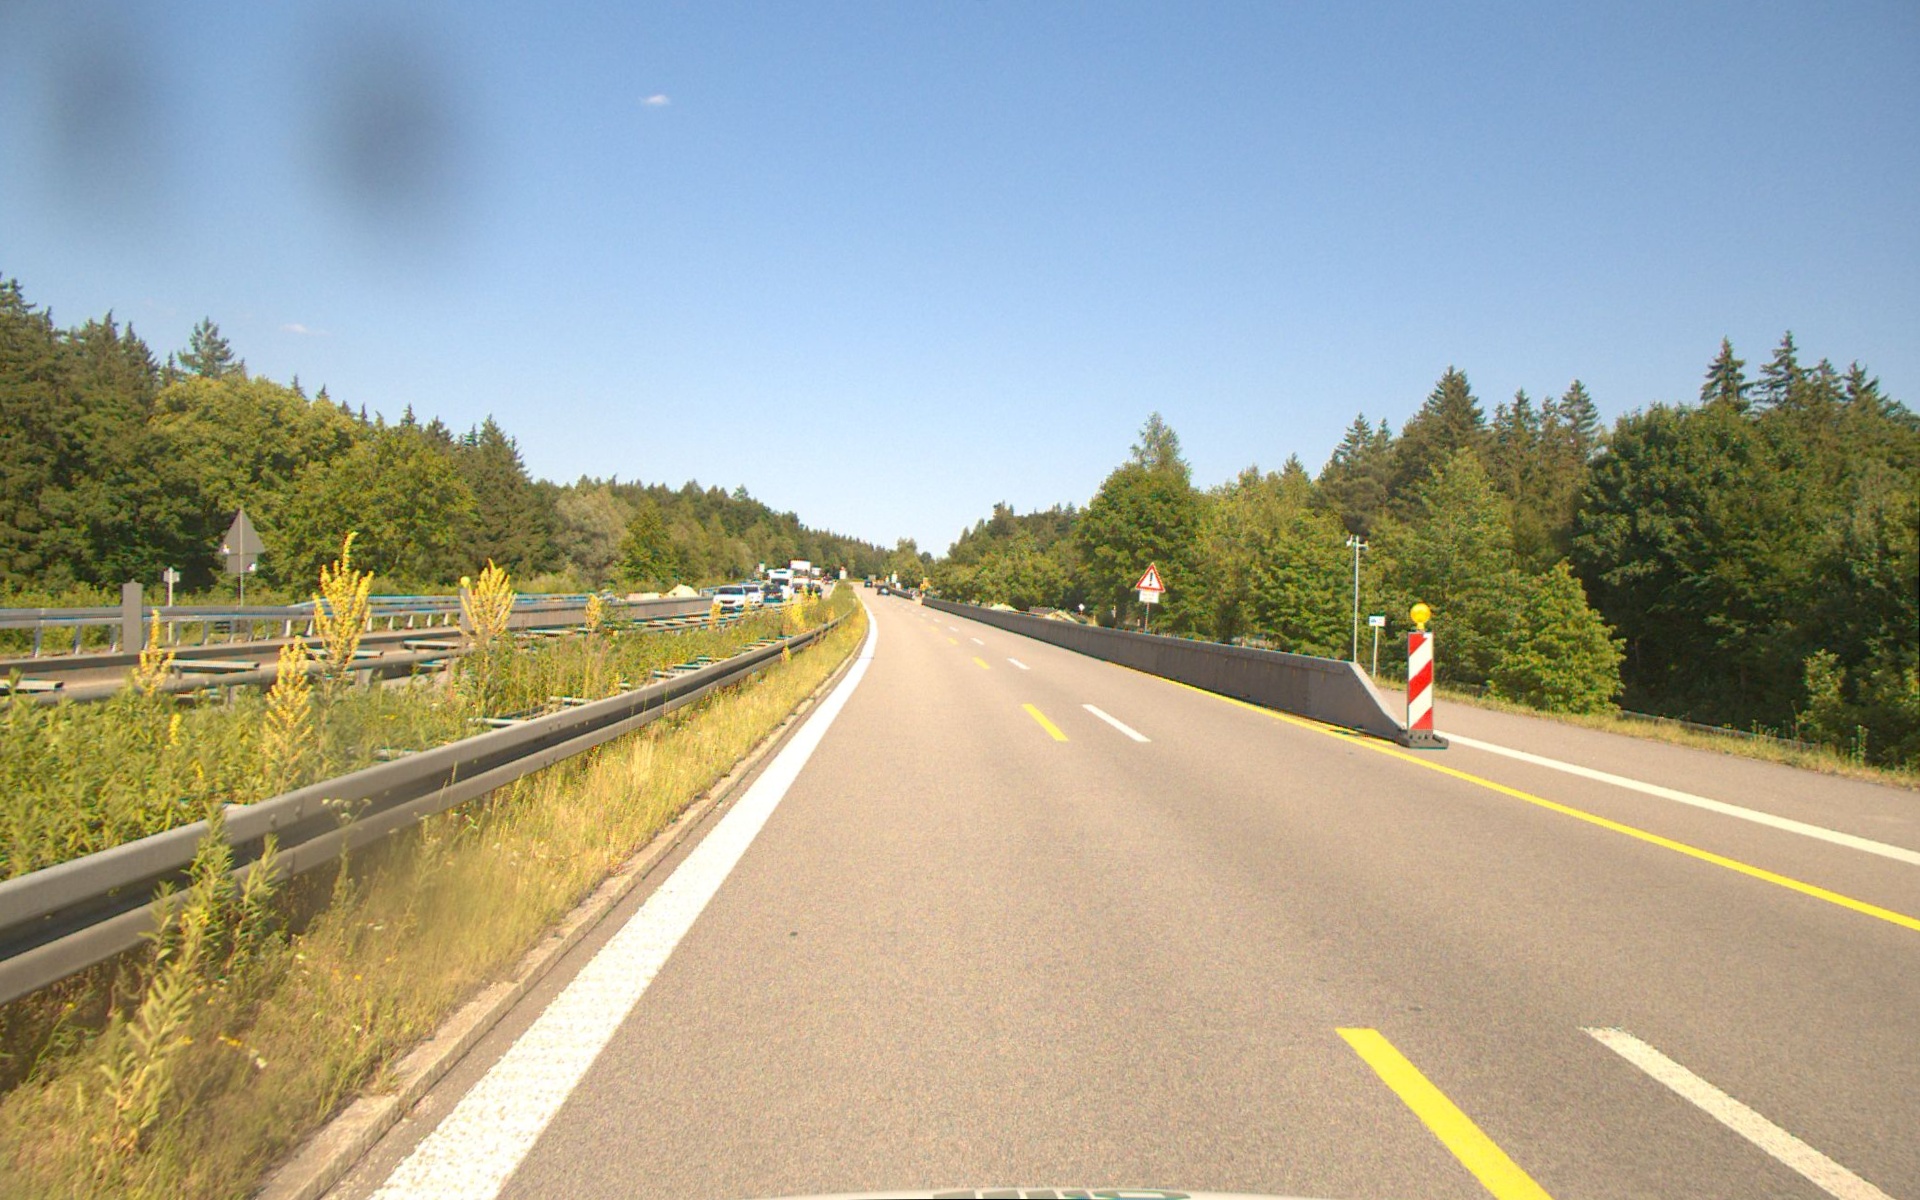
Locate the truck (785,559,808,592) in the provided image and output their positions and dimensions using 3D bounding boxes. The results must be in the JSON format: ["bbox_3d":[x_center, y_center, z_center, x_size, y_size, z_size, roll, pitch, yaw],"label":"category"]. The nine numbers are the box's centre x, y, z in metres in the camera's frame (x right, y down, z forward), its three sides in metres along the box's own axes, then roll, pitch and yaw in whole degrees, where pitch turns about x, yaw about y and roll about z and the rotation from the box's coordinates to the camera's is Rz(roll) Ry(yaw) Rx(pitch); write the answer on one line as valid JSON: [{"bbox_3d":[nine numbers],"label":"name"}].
[{"bbox_3d":[-21.123,-3.198,213.783,2.716,4.159,5.471,1,0,-4],"label":"truck"}]

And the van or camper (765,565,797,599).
[{"bbox_3d":[-16.545,-1.630,153.298,2.358,3.002,7.518,2,0,-3],"label":"van or camper"}]

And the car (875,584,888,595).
[{"bbox_3d":[-11.108,-1.508,234.618,1.710,1.491,4.290,3,0,-4],"label":"car"}]

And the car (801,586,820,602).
[{"bbox_3d":[-14.576,-0.605,161.417,1.707,1.557,3.998,0,0,-3],"label":"car"}]

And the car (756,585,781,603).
[{"bbox_3d":[-16.165,-0.522,139.747,1.706,1.457,5.232,-1,1,-3],"label":"car"}]

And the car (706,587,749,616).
[{"bbox_3d":[-12.548,0.061,89.615,1.846,1.457,4.980,2,0,-3],"label":"car"}]

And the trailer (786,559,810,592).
[{"bbox_3d":[-21.551,-3.182,220.015,2.687,4.141,13.985,1,0,-4],"label":"trailer"}]

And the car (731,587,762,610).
[{"bbox_3d":[-14.051,-0.107,109.155,1.667,1.457,4.952,0,0,-3],"label":"car"}]
